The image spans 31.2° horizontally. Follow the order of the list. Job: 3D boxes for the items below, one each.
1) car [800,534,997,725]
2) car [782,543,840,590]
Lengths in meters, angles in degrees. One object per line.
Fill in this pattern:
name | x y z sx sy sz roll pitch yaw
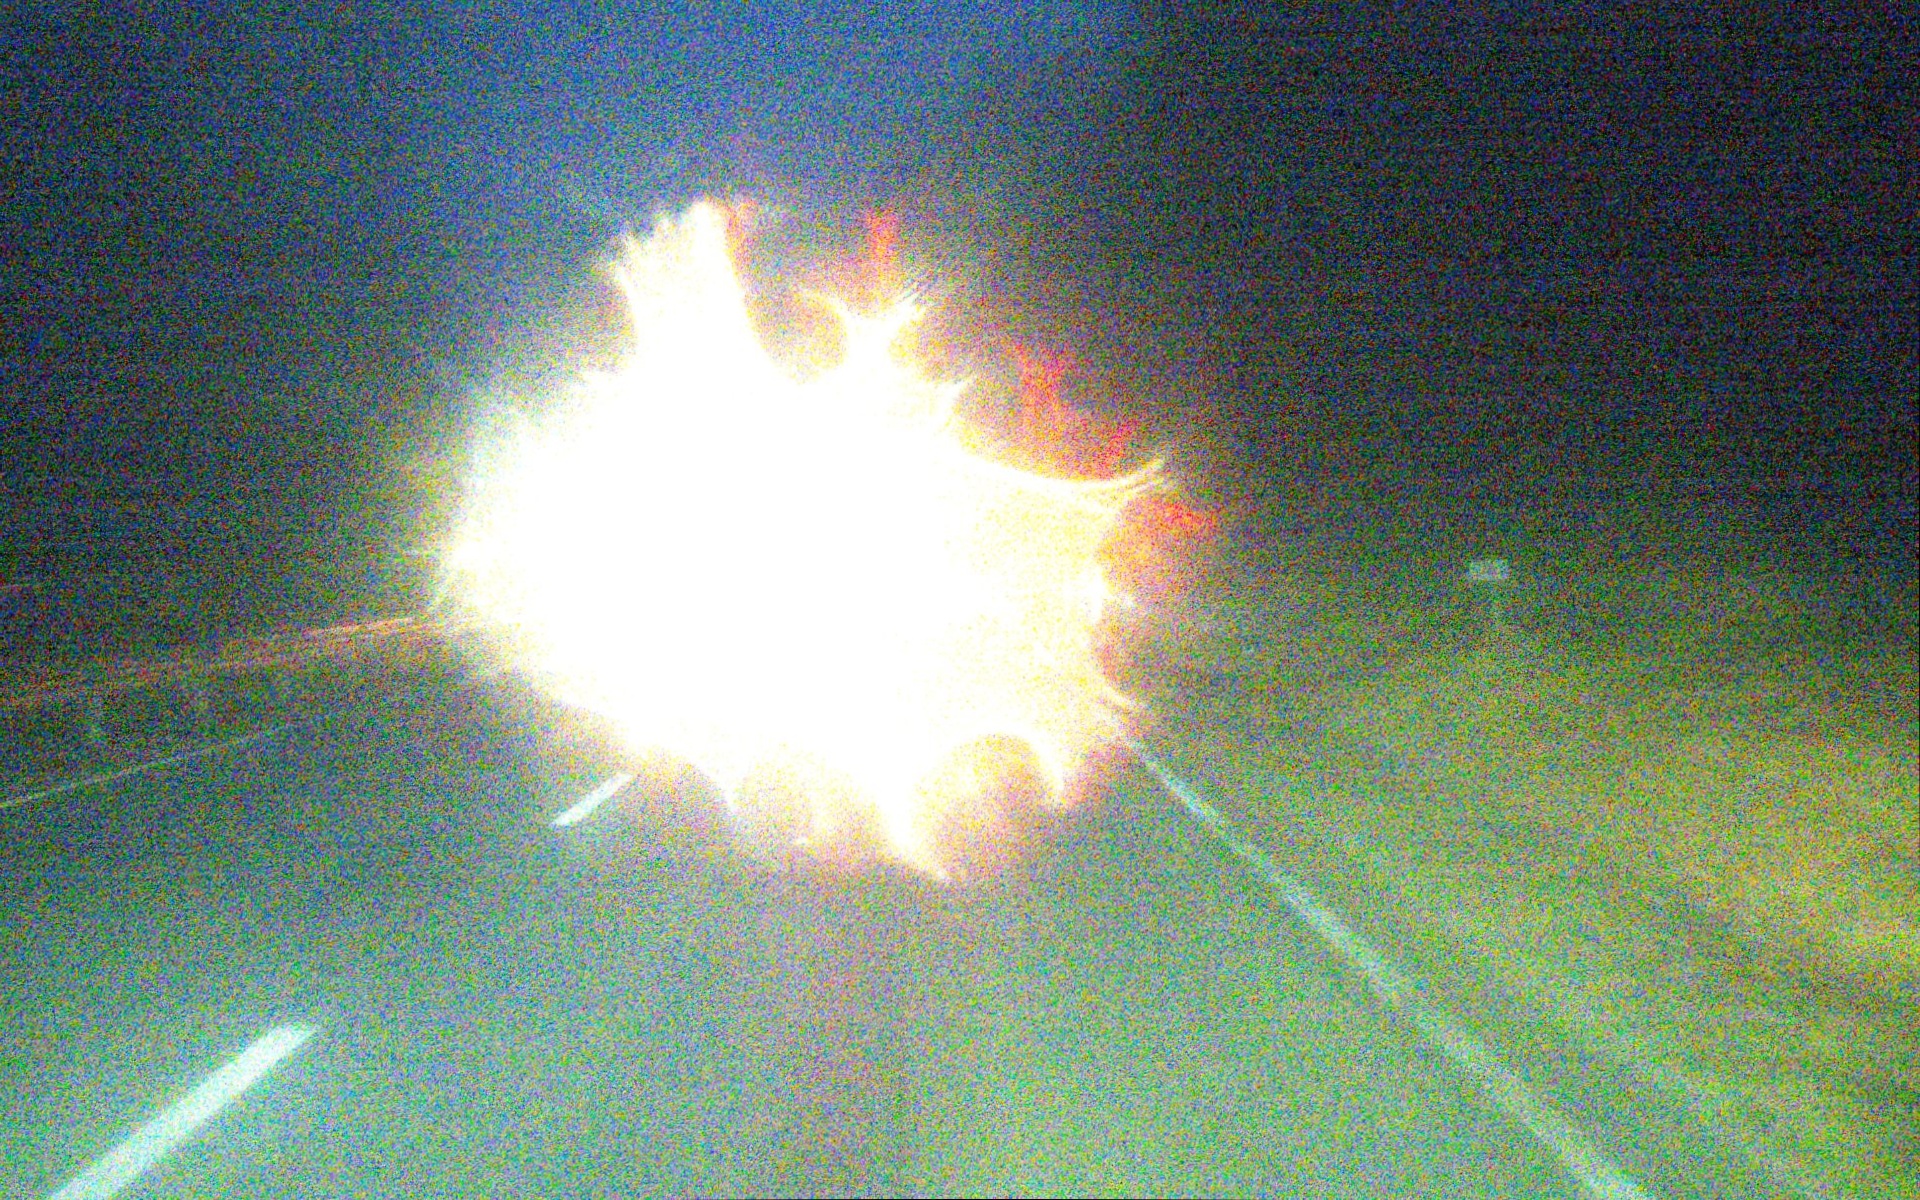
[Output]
car | -0.696 0.270 37.734 1.993 1.800 3.918 -2 3 -2
car | -5.510 -1.252 127.097 1.634 1.575 3.746 -2 3 -10
